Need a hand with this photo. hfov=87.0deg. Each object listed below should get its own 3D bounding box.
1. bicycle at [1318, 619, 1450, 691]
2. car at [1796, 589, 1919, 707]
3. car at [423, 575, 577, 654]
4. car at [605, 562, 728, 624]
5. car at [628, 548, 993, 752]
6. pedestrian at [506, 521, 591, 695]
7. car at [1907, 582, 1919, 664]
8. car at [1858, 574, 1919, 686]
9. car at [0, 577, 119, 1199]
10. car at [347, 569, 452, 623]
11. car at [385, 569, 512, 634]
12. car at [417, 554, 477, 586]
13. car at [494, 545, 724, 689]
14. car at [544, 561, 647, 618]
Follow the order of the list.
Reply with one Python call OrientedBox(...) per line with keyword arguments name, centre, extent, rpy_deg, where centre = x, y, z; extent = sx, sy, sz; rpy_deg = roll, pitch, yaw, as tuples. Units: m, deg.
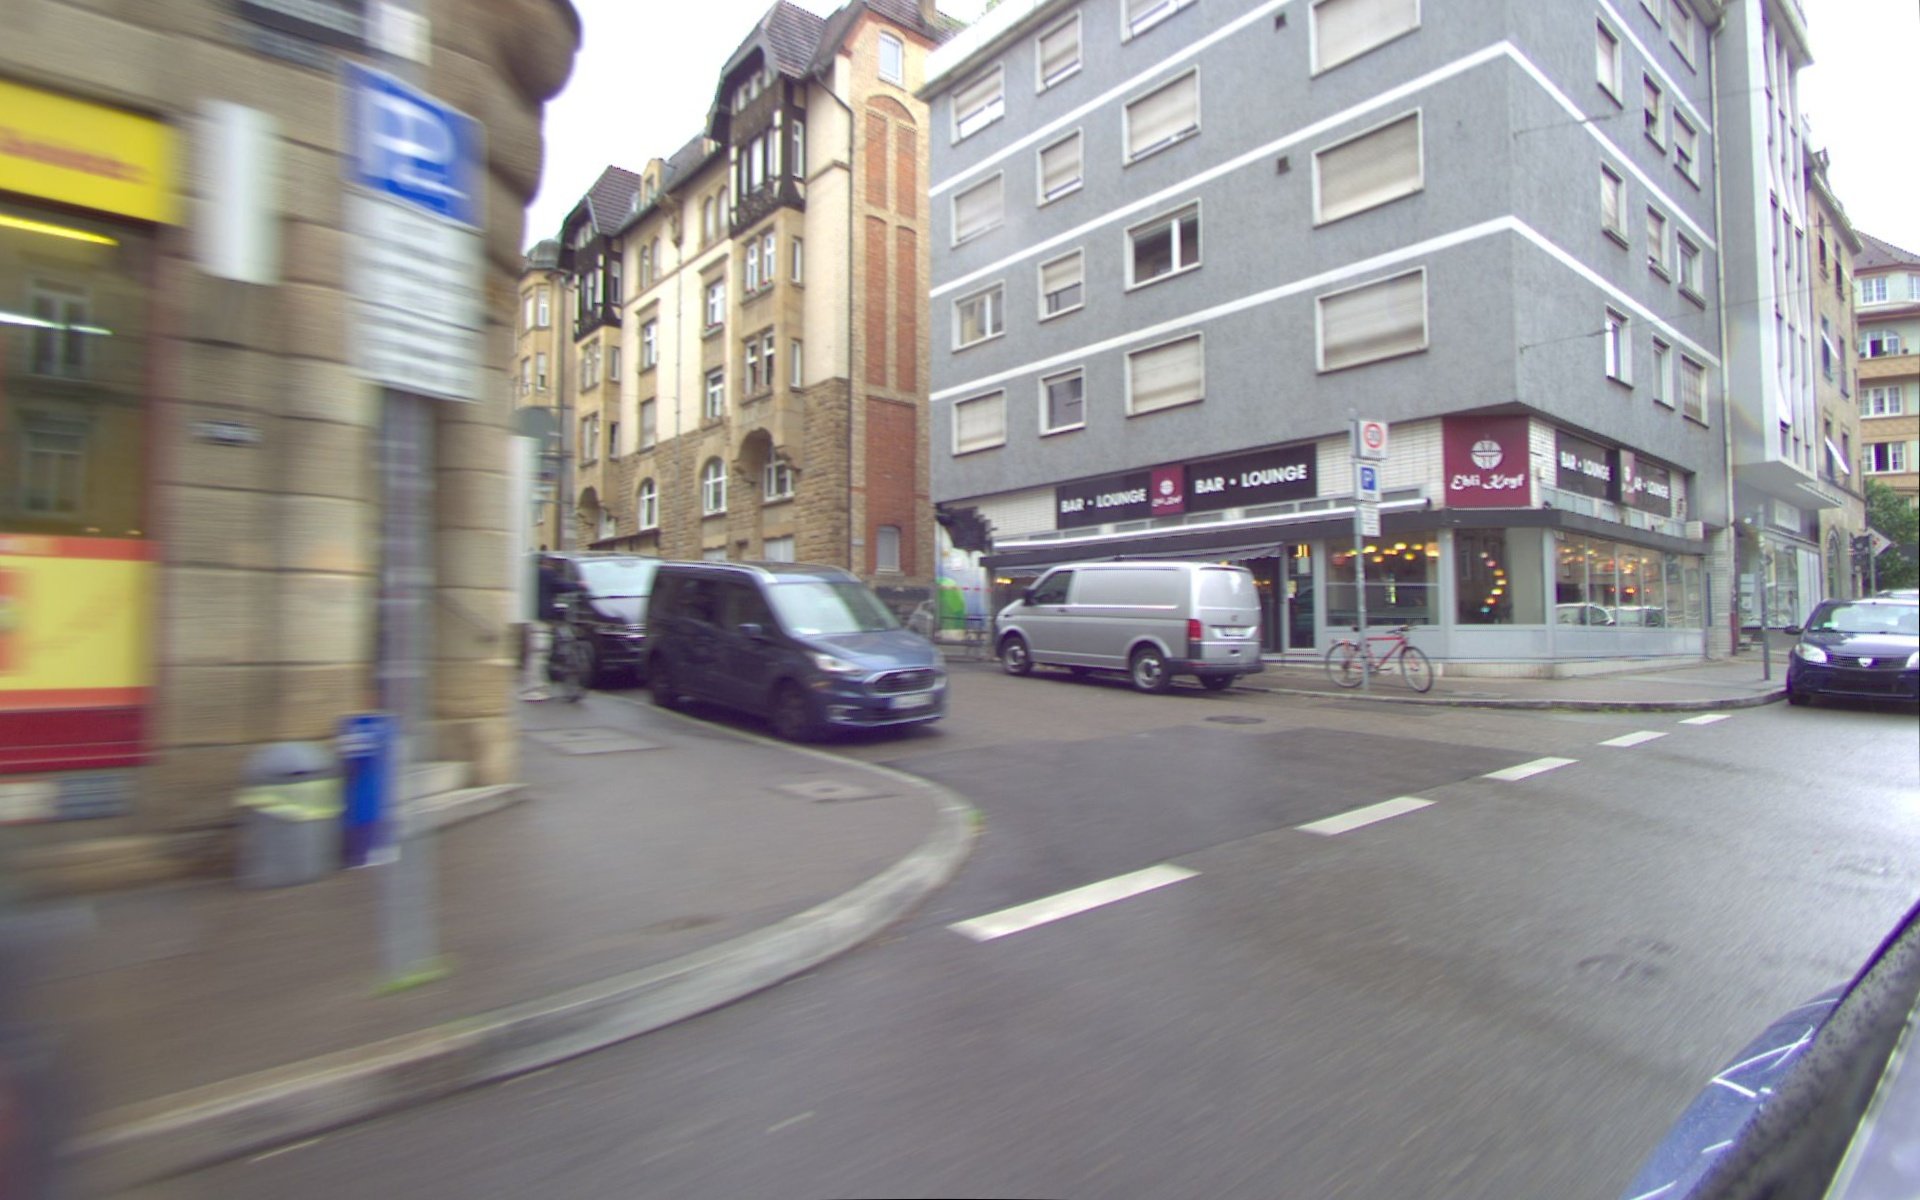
OrientedBox(name="bicycle", centre=(6.236, 0.789, 14.967), extent=(0.524, 0.985, 1.752), rpy_deg=(0, -1, -39))
OrientedBox(name="car", centre=(13.299, 0.602, 14.504), extent=(1.692, 1.501, 3.866), rpy_deg=(1, 0, 45))
OrientedBox(name="car", centre=(-9.601, 0.224, 20.961), extent=(1.829, 1.408, 4.181), rpy_deg=(0, 2, -41))
OrientedBox(name="car", centre=(-9.011, -0.213, 30.857), extent=(1.891, 1.761, 4.478), rpy_deg=(2, 0, -41))
OrientedBox(name="car", centre=(-1.956, 0.382, 11.804), extent=(1.965, 1.885, 4.787), rpy_deg=(0, 2, -41))
OrientedBox(name="pedestrian", centre=(-5.017, 0.104, 12.341), extent=(0.743, 2.039, 0.627), rpy_deg=(3, -2, -39))
OrientedBox(name="car", centre=(21.818, 0.476, 21.678), extent=(4.176, 1.675, 1.821), rpy_deg=(0, 1, -41))
OrientedBox(name="car", centre=(17.100, 0.470, 17.498), extent=(4.487, 1.783, 1.795), rpy_deg=(0, -1, -41))
OrientedBox(name="car", centre=(-2.784, 0.701, 0.422), extent=(3.723, 1.462, 1.674), rpy_deg=(0, 1, -40))
OrientedBox(name="car", centre=(-16.041, -0.152, 28.878), extent=(1.829, 1.408, 4.181), rpy_deg=(0, 2, -41))
OrientedBox(name="car", centre=(-12.484, -0.014, 24.585), extent=(1.829, 1.408, 4.181), rpy_deg=(0, 2, -41))
OrientedBox(name="car", centre=(-26.254, -1.484, 51.760), extent=(1.793, 1.523, 4.099), rpy_deg=(2, 0, -41))
OrientedBox(name="car", centre=(-5.745, 0.096, 16.197), extent=(1.965, 1.949, 4.716), rpy_deg=(-2, 4, -39))
OrientedBox(name="car", centre=(-12.678, -0.352, 35.036), extent=(1.891, 1.827, 4.478), rpy_deg=(2, 0, -41))
